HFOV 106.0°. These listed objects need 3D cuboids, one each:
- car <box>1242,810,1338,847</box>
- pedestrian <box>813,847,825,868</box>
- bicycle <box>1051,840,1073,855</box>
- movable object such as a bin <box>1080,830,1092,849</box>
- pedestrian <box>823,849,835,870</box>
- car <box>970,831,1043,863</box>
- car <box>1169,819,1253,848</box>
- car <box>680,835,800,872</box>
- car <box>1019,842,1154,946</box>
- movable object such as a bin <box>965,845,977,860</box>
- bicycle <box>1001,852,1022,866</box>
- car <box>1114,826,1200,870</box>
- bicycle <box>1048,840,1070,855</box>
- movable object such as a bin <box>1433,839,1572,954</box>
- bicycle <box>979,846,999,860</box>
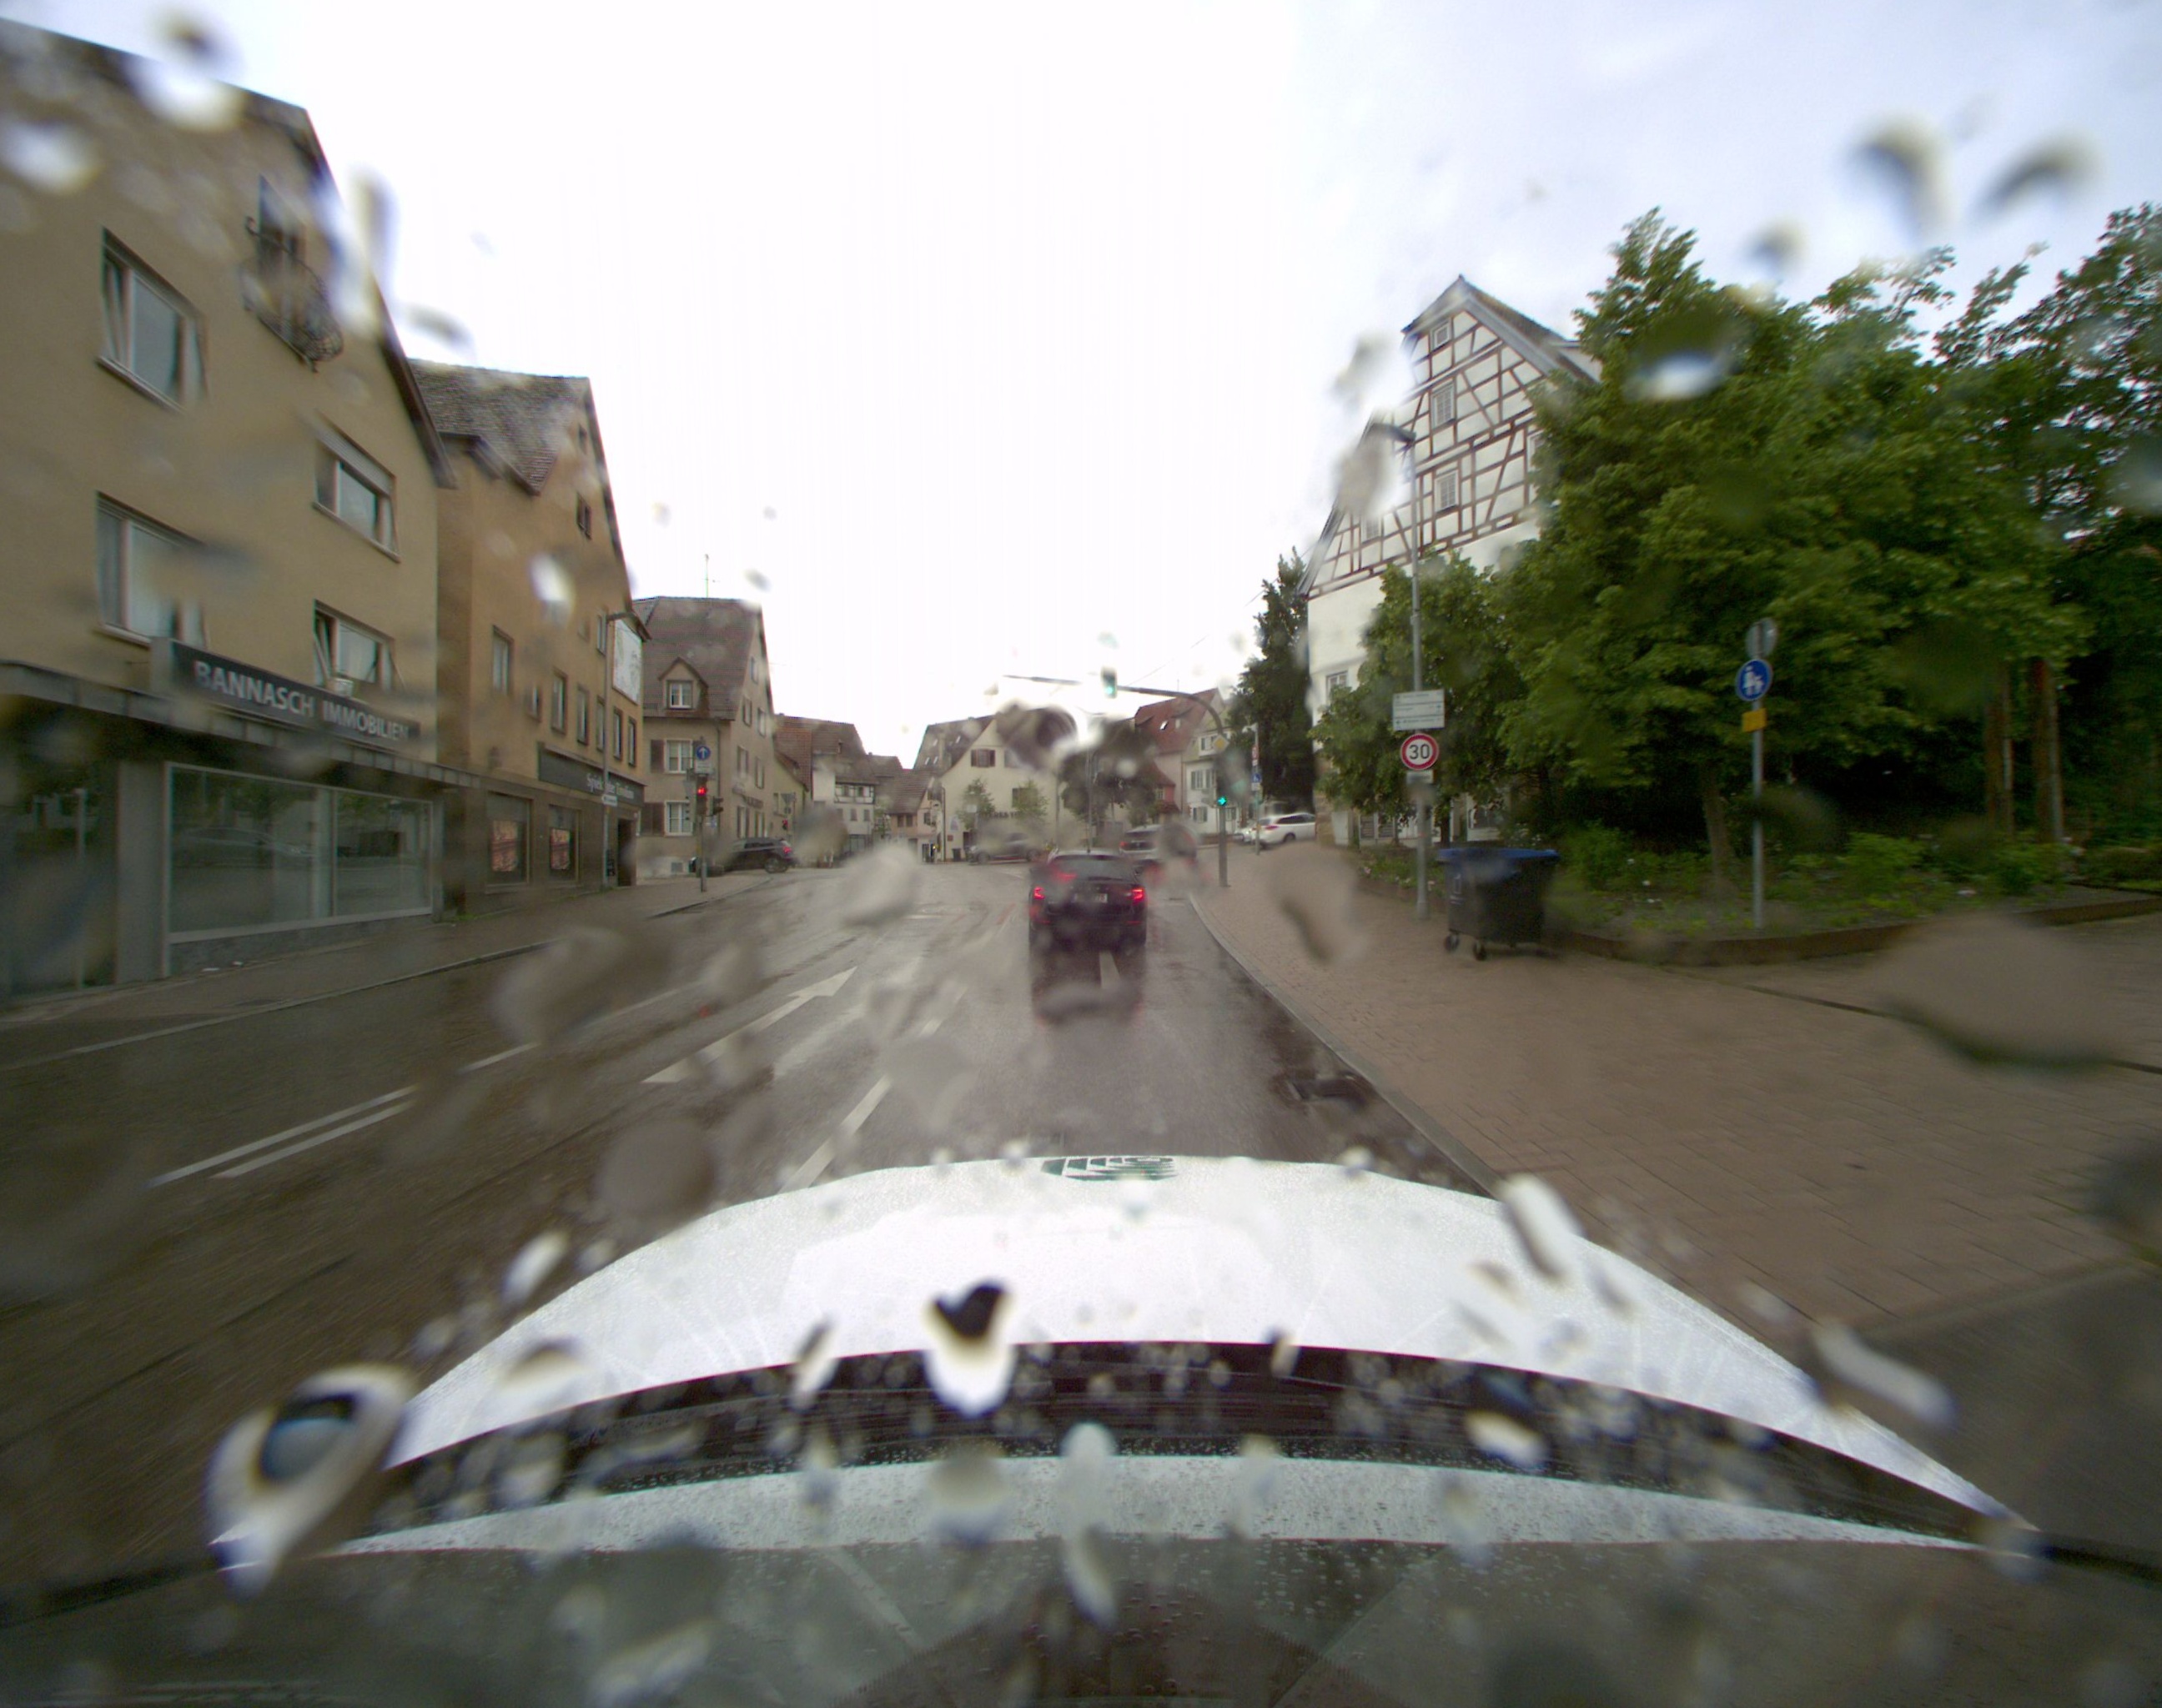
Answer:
[{"bbox_3d":[9.764,-1.149,37.939,4.341,1.596,1.872,0,0,-33],"label":"car"},{"bbox_3d":[-22.086,0.309,68.596,0.779,1.731,0.628,-3,2,-11],"label":"pedestrian"},{"bbox_3d":[-1.250,-0.445,53.788,1.475,0.912,0.389,-2,4,-32],"label":"bicycle"},{"bbox_3d":[0.339,-0.980,55.517,0.682,1.276,0.747,1,1,-6],"label":"movable object such as a bin"},{"bbox_3d":[-21.279,0.459,68.788,0.779,1.731,0.628,-3,2,-11],"label":"pedestrian"},{"bbox_3d":[-3.592,-0.321,39.072,3.378,1.477,1.531,0,0,-9],"label":"car"},{"bbox_3d":[6.803,-1.059,42.792,3.987,1.431,1.993,0,0,-10],"label":"car"},{"bbox_3d":[-15.177,-0.034,36.520,4.744,1.588,1.820,0,0,-17],"label":"car"},{"bbox_3d":[0.107,0.551,13.583,1.880,1.448,4.357,0,0,1],"label":"car"},{"bbox_3d":[-7.005,-0.103,51.772,0.590,0.901,0.578,-1,1,-31],"label":"movable object such as a bin"},{"bbox_3d":[-4.428,0.310,51.968,1.478,0.912,0.388,-1,0,-45],"label":"bicycle"},{"bbox_3d":[2.852,-0.214,29.912,1.839,1.473,4.023,0,0,26],"label":"car"},{"bbox_3d":[-1.439,-0.439,54.164,1.475,0.912,0.389,-2,4,-32],"label":"bicycle"},{"bbox_3d":[5.098,0.486,9.958,1.148,1.313,1.189,-1,0,6],"label":"movable object such as a bin"},{"bbox_3d":[-5.762,-0.078,50.828,0.334,0.818,1.446,3,4,37],"label":"bicycle"}]
